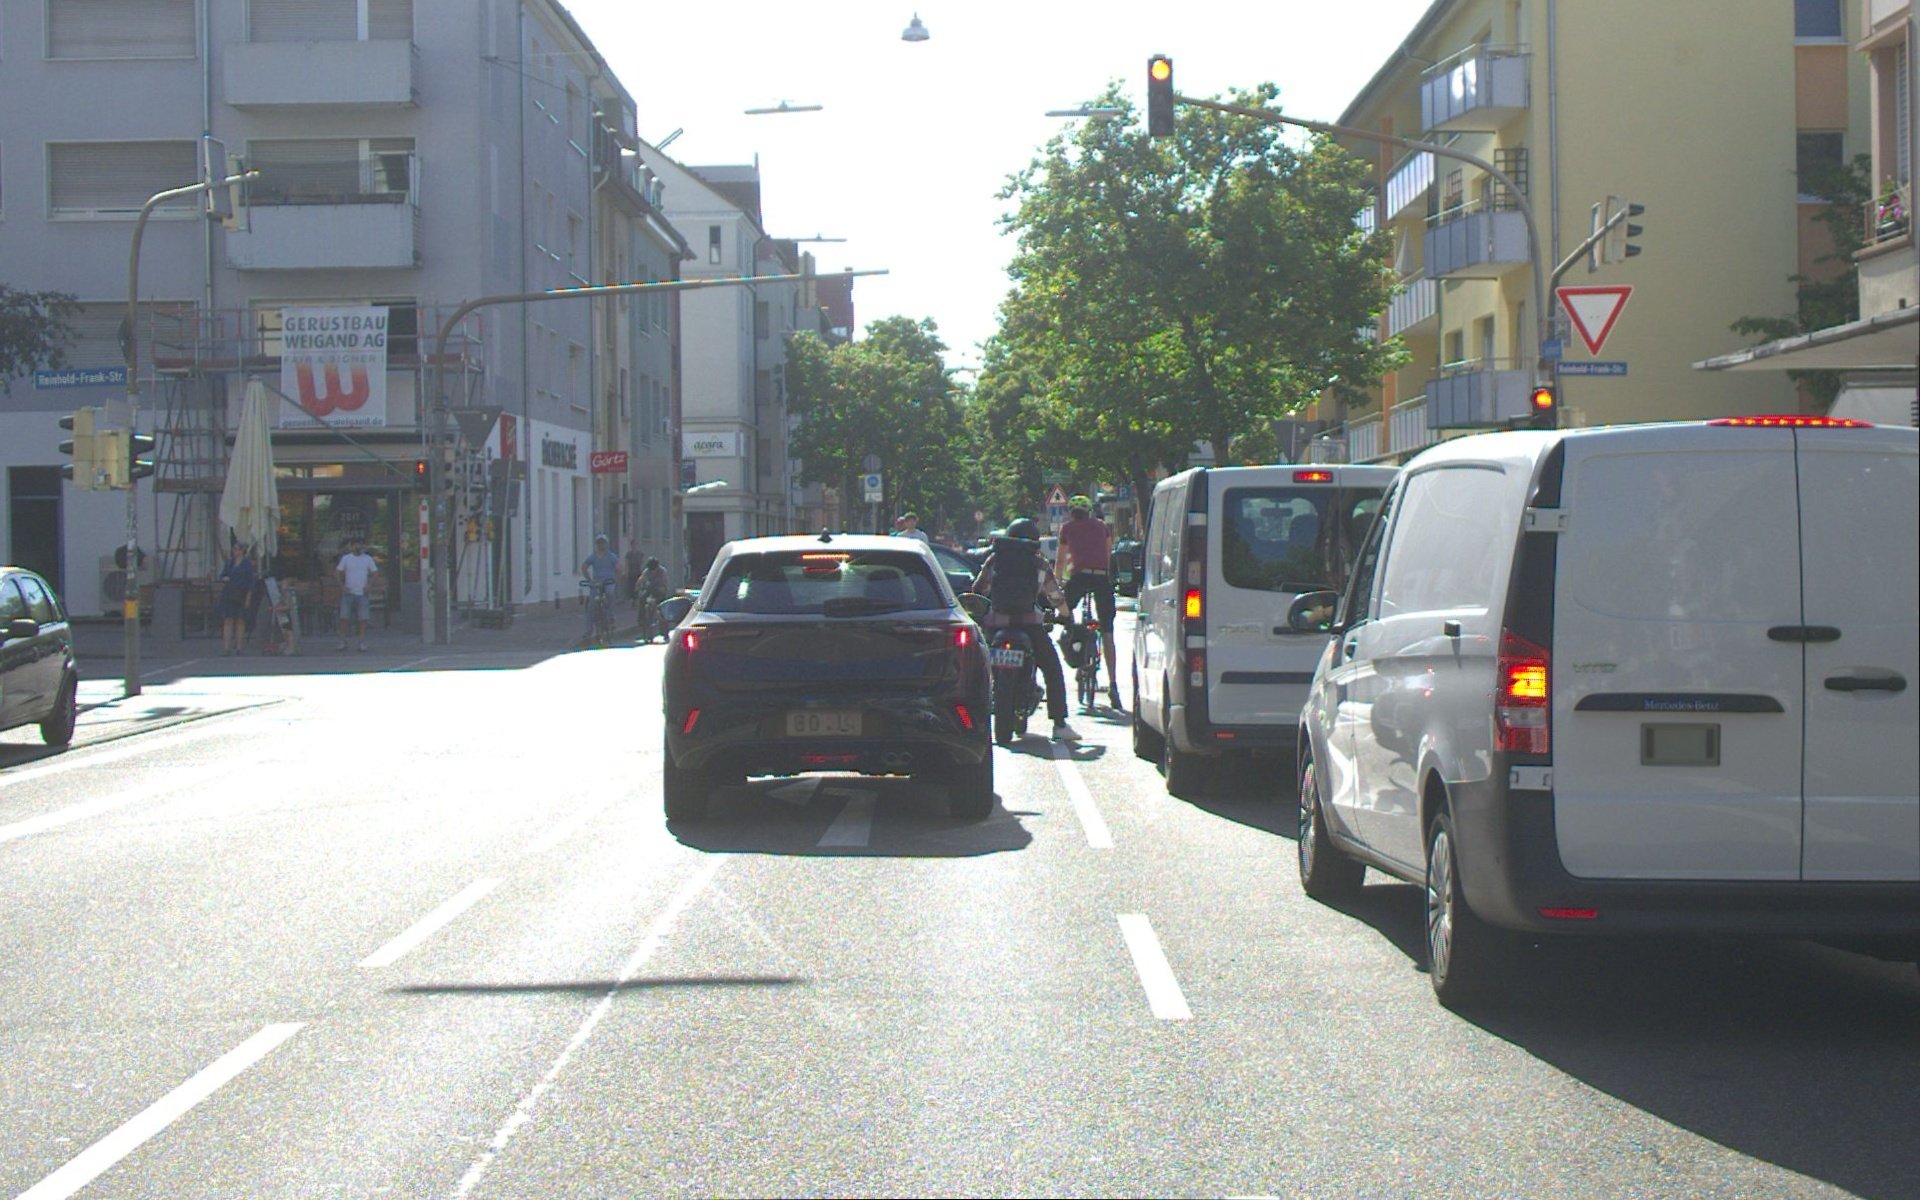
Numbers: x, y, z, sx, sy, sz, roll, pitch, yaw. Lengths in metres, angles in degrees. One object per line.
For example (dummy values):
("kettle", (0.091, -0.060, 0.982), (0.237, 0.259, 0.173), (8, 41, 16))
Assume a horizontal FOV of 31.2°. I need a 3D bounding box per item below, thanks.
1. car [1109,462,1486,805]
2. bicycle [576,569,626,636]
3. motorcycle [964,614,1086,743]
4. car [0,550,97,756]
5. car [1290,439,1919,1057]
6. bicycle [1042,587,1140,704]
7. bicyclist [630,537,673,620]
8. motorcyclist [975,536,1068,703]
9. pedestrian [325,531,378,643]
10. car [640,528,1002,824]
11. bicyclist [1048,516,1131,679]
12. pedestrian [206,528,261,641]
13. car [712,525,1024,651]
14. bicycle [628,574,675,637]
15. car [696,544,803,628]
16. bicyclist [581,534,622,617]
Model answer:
("car", (2.005, 0.144, 21.697), (1.815, 1.914, 4.645), (-1, 1, -1))
("bicycle", (-5.974, 0.036, 57.236), (0.564, 1.081, 1.103), (0, 1, 7))
("motorcycle", (0.469, 0.570, 25.603), (0.807, 0.860, 1.823), (2, 1, -1))
("car", (-7.842, 0.369, 26.049), (1.653, 1.474, 4.000), (1, 1, -1))
("car", (2.405, 0.392, 12.382), (1.984, 1.816, 4.547), (0, 1, 0))
("bicycle", (1.165, 0.393, 30.865), (0.775, 0.989, 1.717), (-1, 1, -1))
("bicyclist", (-5.119, -0.363, 57.130), (0.570, 1.365, 0.583), (-1, 0, 8))
("motorcyclist", (0.453, 0.139, 25.623), (0.658, 1.223, 0.694), (0, 1, -1))
("pedestrian", (-9.130, -0.202, 51.588), (0.683, 1.658, 0.601), (-1, 1, -1))
("car", (-0.756, 0.351, 19.658), (1.844, 1.502, 4.000), (-1, 1, -1))
("bicyclist", (1.165, -0.030, 31.025), (0.683, 1.444, 0.940), (0, 1, -1))
("pedestrian", (-10.776, -0.233, 51.015), (0.683, 1.658, 0.601), (-1, 1, -1))
("car", (-1.228, -0.193, 47.078), (1.999, 1.634, 3.989), (1, 1, 45))
("bicycle", (-5.118, 0.088, 57.119), (0.535, 1.002, 1.110), (-1, 1, 8))
("car", (-3.612, -0.270, 59.466), (1.618, 1.393, 3.731), (0, 1, 0))
("bicyclist", (-5.979, -0.409, 57.301), (0.545, 1.377, 0.521), (1, 0, 8))
